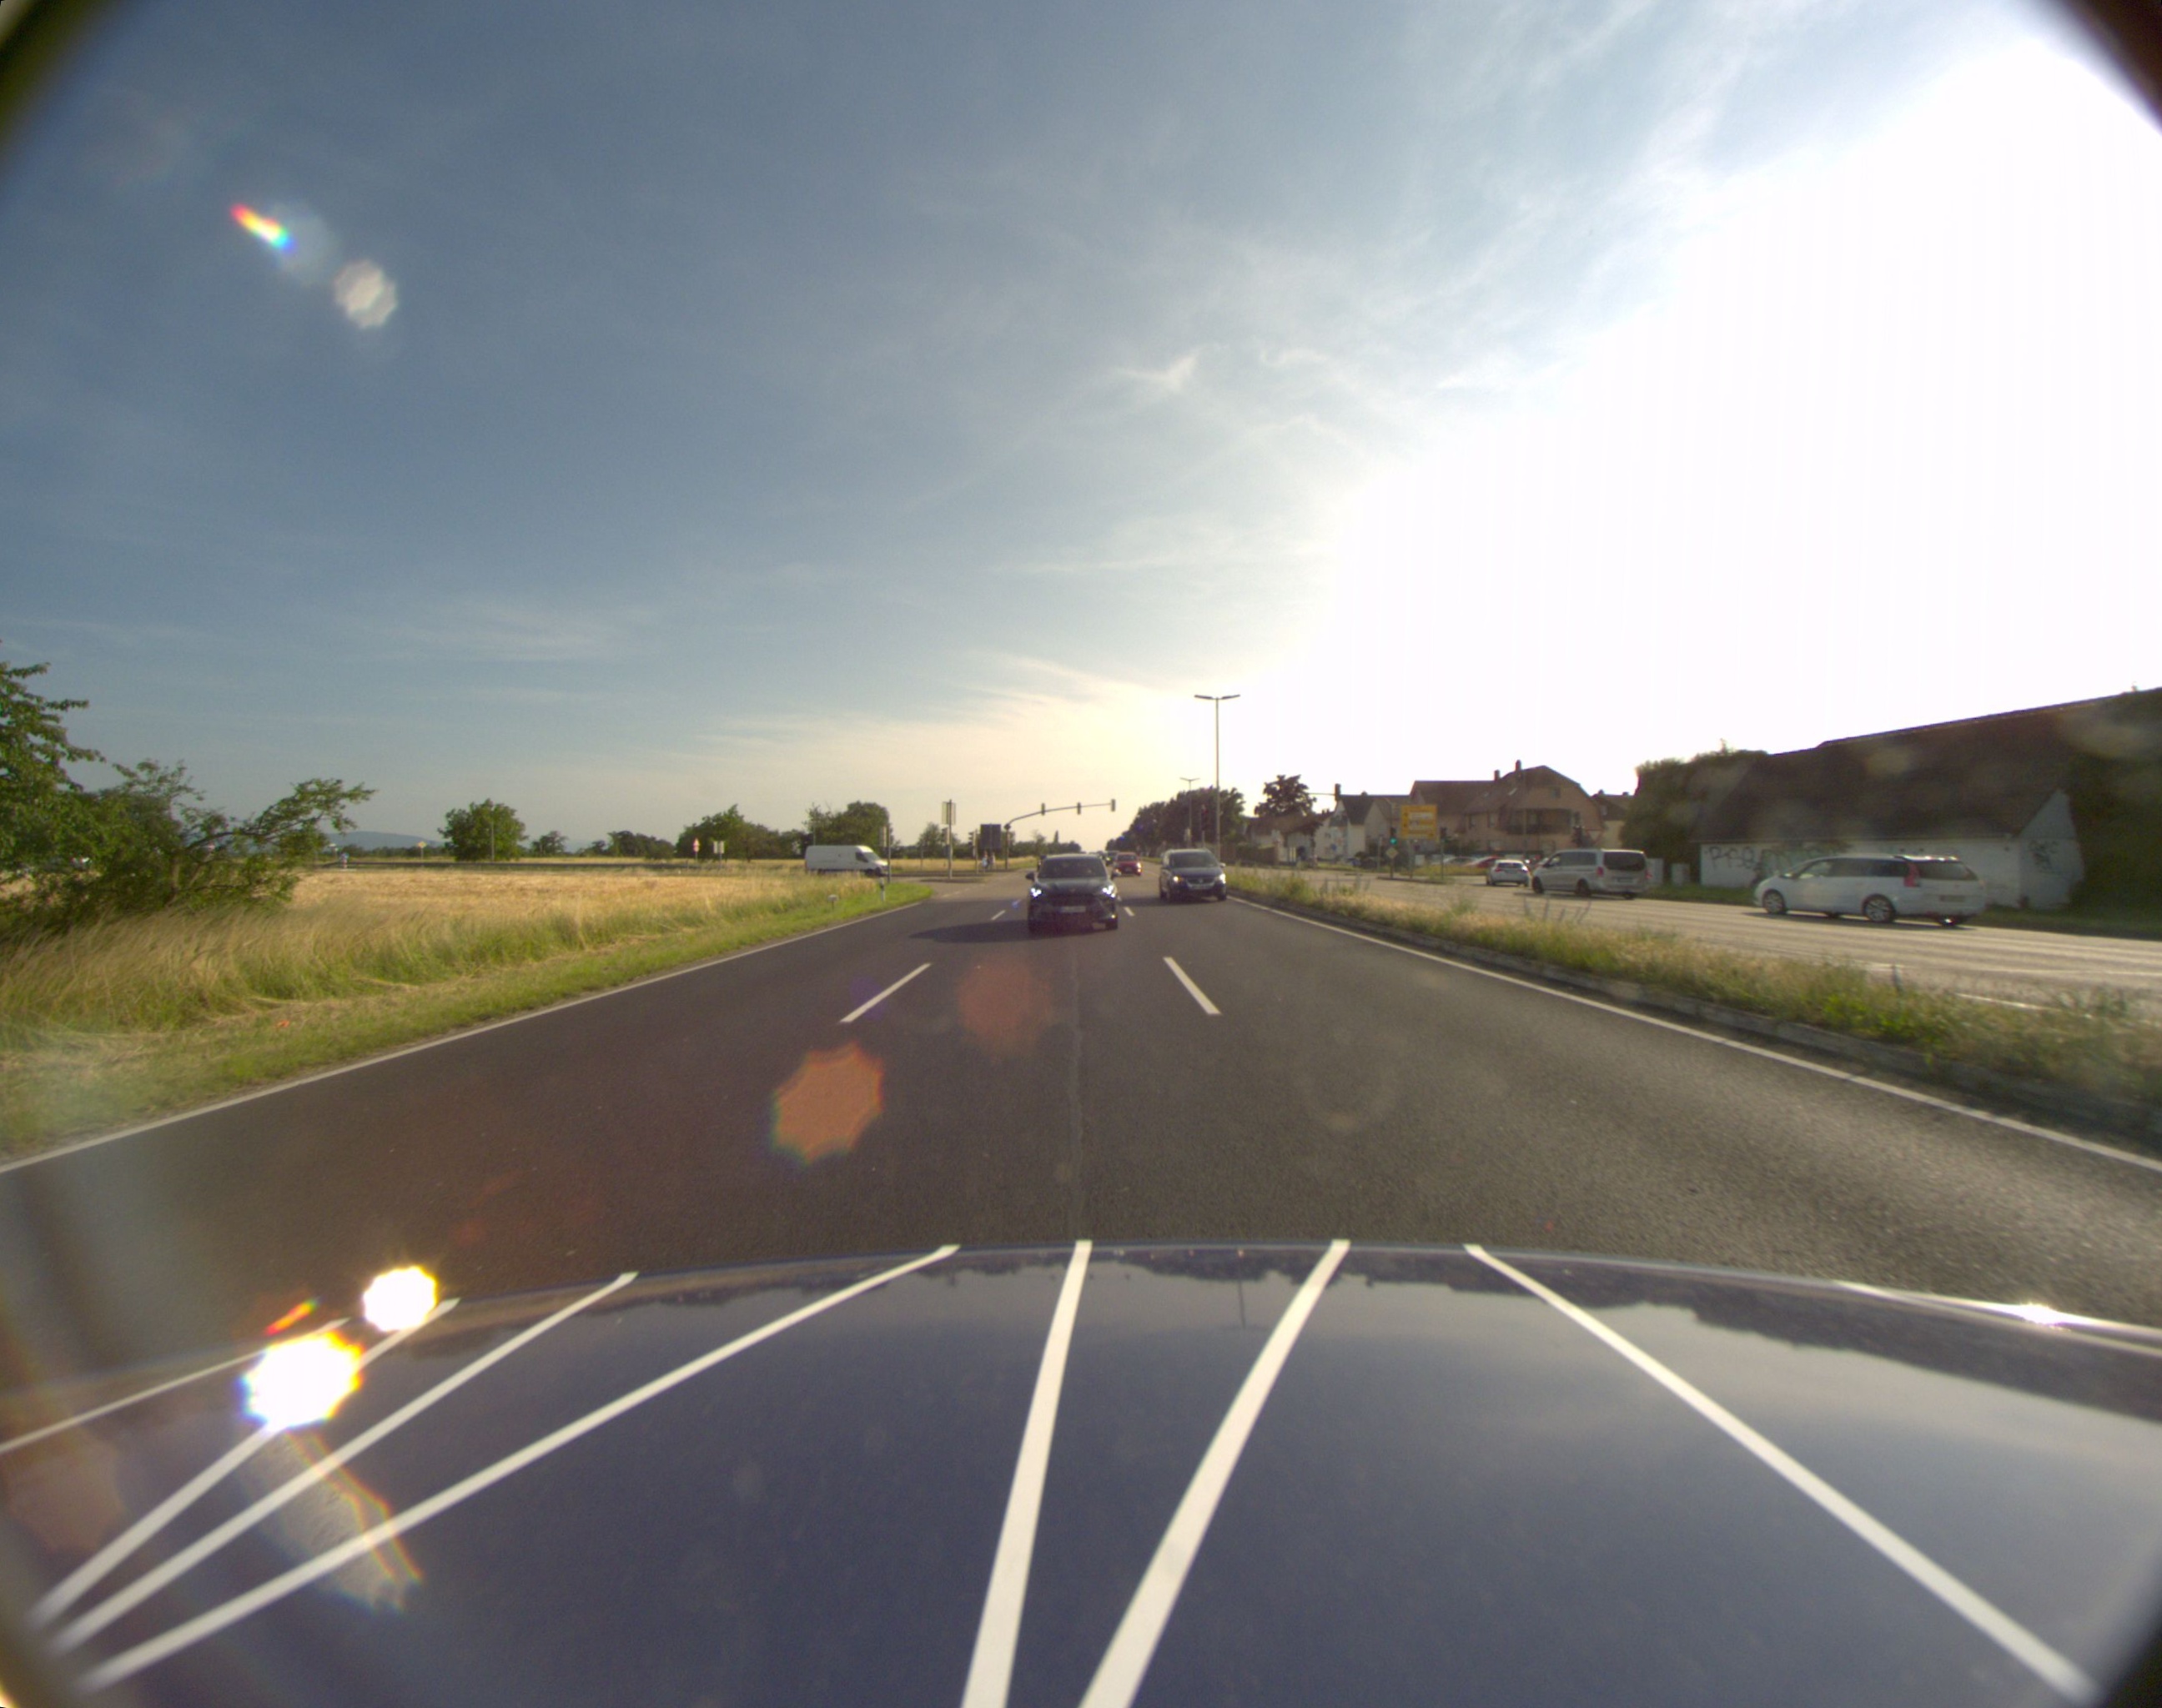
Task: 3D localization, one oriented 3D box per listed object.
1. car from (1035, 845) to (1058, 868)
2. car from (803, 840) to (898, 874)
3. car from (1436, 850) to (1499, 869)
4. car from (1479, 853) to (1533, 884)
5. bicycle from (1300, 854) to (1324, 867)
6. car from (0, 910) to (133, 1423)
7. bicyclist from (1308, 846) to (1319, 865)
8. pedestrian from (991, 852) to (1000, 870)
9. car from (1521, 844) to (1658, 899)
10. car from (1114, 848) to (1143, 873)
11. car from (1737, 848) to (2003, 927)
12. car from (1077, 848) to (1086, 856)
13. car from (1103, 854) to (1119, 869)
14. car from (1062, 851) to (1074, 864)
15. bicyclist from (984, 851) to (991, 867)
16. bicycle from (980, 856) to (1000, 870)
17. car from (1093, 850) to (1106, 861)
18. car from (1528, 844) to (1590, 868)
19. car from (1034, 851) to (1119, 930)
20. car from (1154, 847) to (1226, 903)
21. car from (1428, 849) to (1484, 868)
[{"bbox_3d":[-3.228,0.192,70.769,1.999,2.002,3.998,-2,1,-2],"label":"car"},{"bbox_3d":[-18.432,0.223,60.790,7.202,2.654,2.094,0,2,14],"label":"car"},{"bbox_3d":[31.235,0.454,61.446,4.304,1.405,1.641,2,1,-6],"label":"car"},{"bbox_3d":[23.383,0.763,41.956,1.704,1.489,4.543,3,2,19],"label":"car"},{"bbox_3d":[22.484,0.626,74.074,2.159,1.185,0.904,0,2,9],"label":"bicycle"},{"bbox_3d":[-4.086,1.004,0.297,1.708,1.497,4.500,-2,1,0],"label":"car"},{"bbox_3d":[22.619,0.161,74.039,0.856,1.777,0.847,2,2,9],"label":"bicyclist"},{"bbox_3d":[-8.476,0.704,75.466,0.623,1.741,0.598,-2,2,11],"label":"pedestrian"},{"bbox_3d":[20.045,0.601,30.305,1.911,1.917,5.453,2,1,2],"label":"car"},{"bbox_3d":[3.233,0.427,52.430,1.748,1.537,3.999,-2,1,1],"label":"car"},{"bbox_3d":[19.815,0.732,19.484,1.841,1.697,4.756,2,1,1],"label":"car"},{"bbox_3d":[0.232,-0.514,190.463,1.999,2.002,3.998,-2,1,-3],"label":"car"},{"bbox_3d":[3.442,0.815,87.845,1.719,1.521,3.999,-2,1,1],"label":"car"},{"bbox_3d":[-2.198,0.526,128.853,1.999,2.002,3.999,-2,1,0],"label":"car"},{"bbox_3d":[-9.055,0.476,73.723,0.560,1.603,0.504,-2,2,6],"label":"bicyclist"},{"bbox_3d":[-8.838,0.883,73.679,1.858,1.282,0.529,-2,1,3],"label":"bicycle"},{"bbox_3d":[3.459,0.308,142.733,1.999,2.002,3.998,-2,1,-3],"label":"car"},{"bbox_3d":[33.715,0.108,53.557,4.769,1.489,1.951,-3,1,-34],"label":"car"},{"bbox_3d":[-0.069,0.780,18.662,1.791,1.594,4.339,-2,1,1],"label":"car"},{"bbox_3d":[3.491,0.619,25.172,1.777,1.612,4.681,-1,1,1],"label":"car"},{"bbox_3d":[32.815,0.387,66.573,3.996,1.554,1.758,1,1,1],"label":"car"}]
